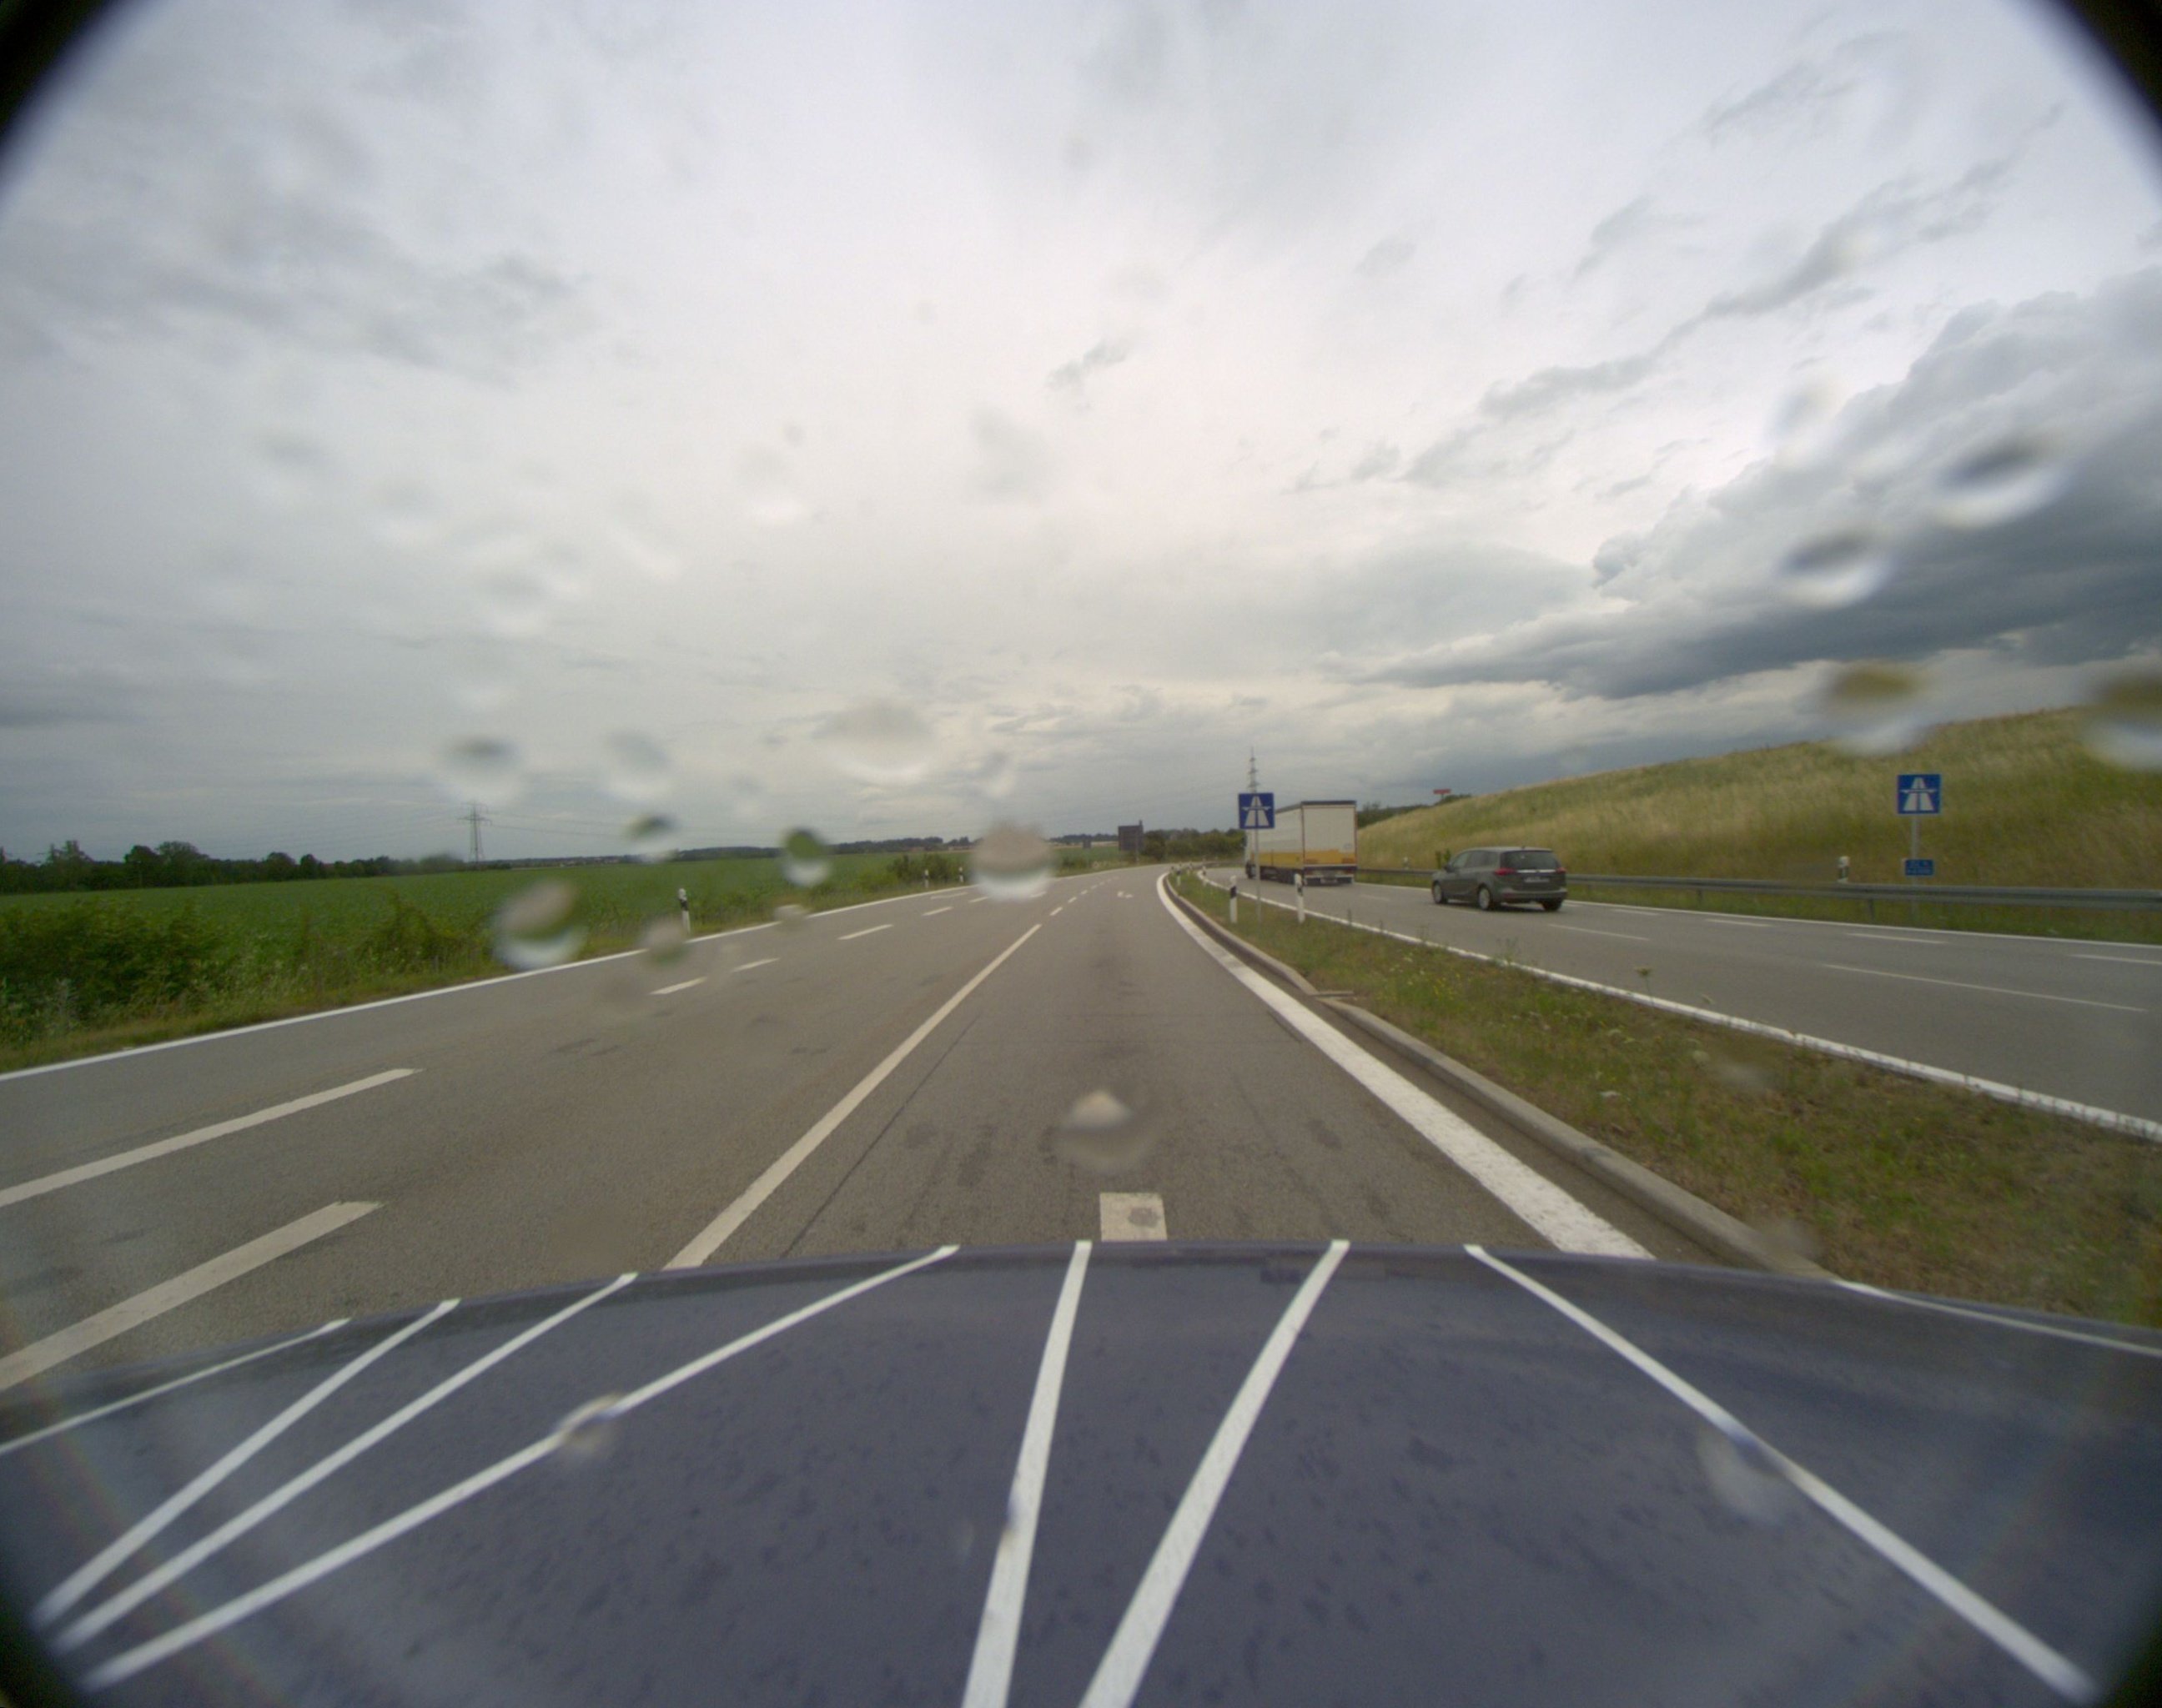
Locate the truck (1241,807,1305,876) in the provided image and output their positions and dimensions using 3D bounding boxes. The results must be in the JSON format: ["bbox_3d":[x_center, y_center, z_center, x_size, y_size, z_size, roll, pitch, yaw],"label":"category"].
[{"bbox_3d":[12.280,-0.802,49.215,2.656,4.117,6.403,-2,1,2],"label":"truck"}]

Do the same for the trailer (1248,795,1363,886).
[{"bbox_3d":[12.019,-0.724,42.440,2.698,4.186,13.841,-2,1,2],"label":"trailer"}]

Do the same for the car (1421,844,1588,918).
[{"bbox_3d":[11.092,0.625,20.332,1.998,1.684,4.454,-2,1,1],"label":"car"}]
